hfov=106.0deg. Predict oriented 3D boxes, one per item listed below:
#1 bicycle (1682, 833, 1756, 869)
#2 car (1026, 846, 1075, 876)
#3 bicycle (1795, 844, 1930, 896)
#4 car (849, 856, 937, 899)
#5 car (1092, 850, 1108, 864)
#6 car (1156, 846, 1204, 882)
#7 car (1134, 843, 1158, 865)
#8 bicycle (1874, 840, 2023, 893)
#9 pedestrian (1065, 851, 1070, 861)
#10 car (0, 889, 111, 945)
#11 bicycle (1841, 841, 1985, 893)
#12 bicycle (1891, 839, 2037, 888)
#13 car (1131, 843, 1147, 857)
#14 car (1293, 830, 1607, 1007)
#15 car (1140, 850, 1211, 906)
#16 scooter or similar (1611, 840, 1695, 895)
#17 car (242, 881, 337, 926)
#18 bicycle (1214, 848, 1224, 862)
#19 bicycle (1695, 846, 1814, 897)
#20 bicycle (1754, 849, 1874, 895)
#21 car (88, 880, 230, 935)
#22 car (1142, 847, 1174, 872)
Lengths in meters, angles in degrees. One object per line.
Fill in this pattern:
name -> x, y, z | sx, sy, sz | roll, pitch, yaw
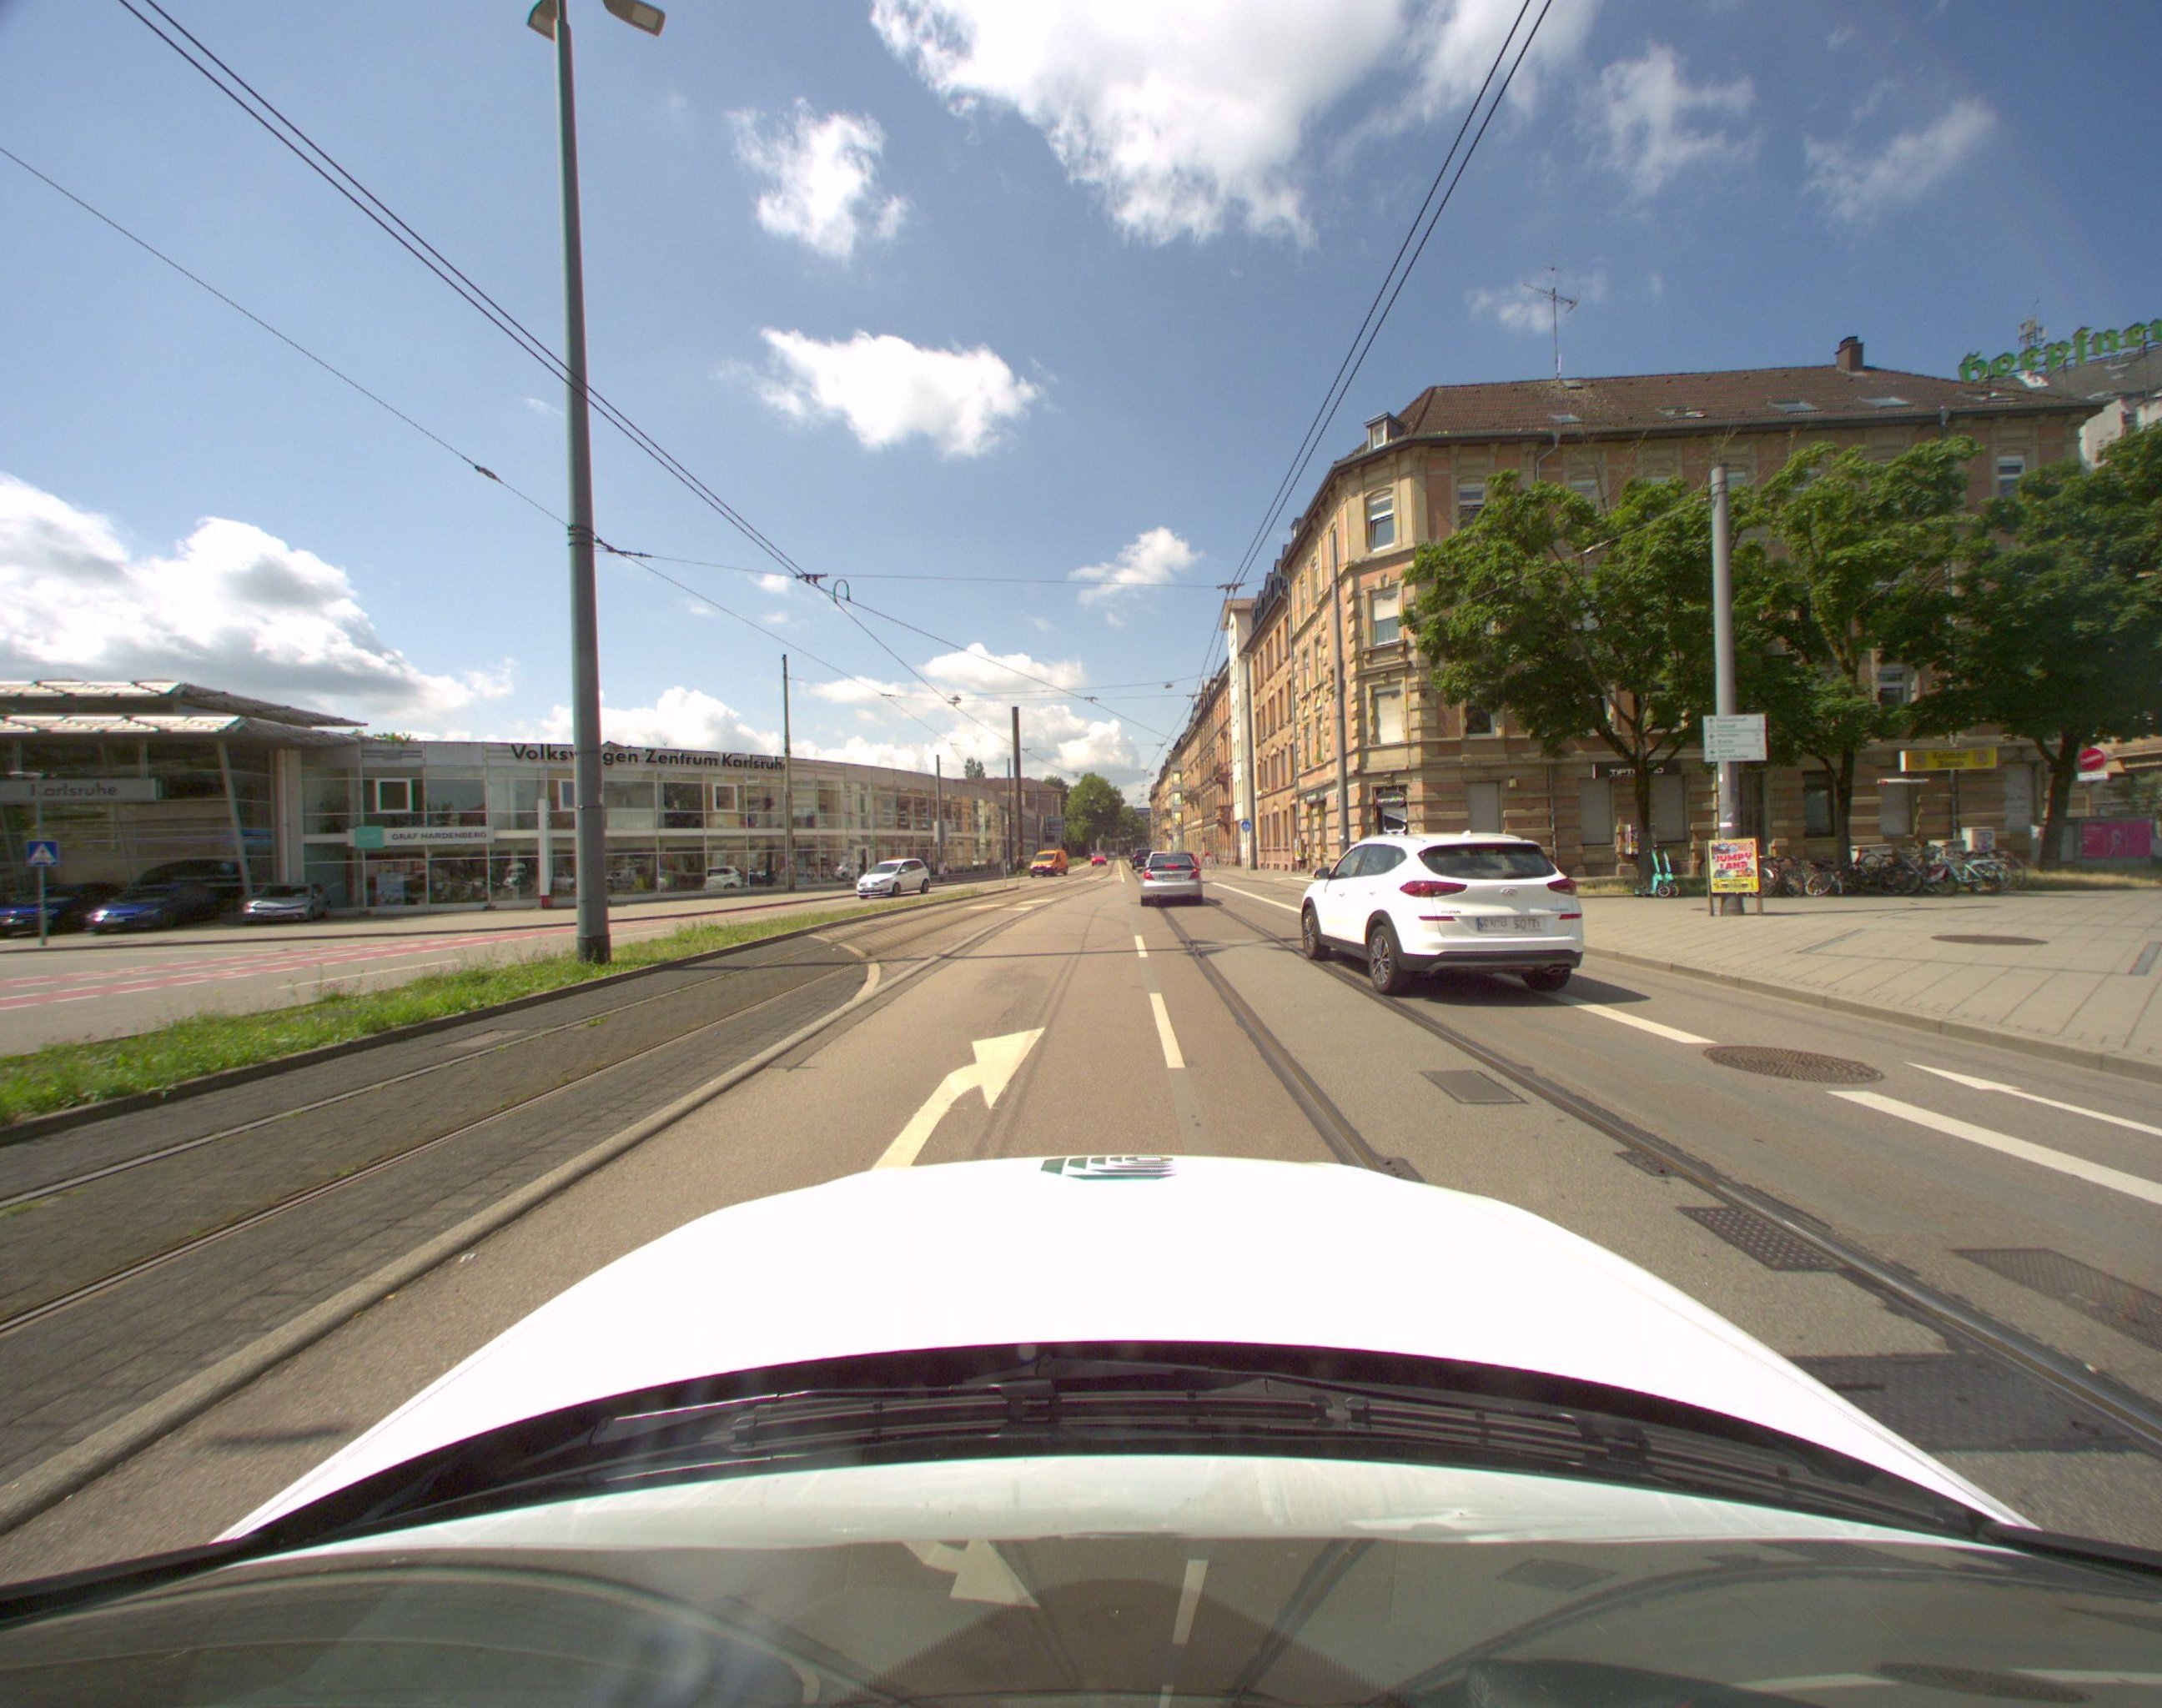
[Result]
bicycle -> 19.832, -0.100, 25.345 | 1.636, 1.050, 0.767 | -2, 0, 10
car -> -2.064, 0.442, 56.470 | 1.896, 1.865, 4.387 | -3, 0, 17
bicycle -> 18.082, 0.339, 18.949 | 0.788, 1.070, 2.577 | -3, 0, 5
car -> -8.458, 1.026, 37.029 | 1.752, 1.604, 4.514 | -3, 1, 17
car -> 2.205, 0.337, 92.249 | 1.695, 1.428, 3.904 | -2, 0, 2
car -> 4.652, 0.435, 38.662 | 1.808, 1.524, 4.086 | -2, 1, 1
car -> 5.450, -0.006, 68.683 | 1.807, 1.661, 4.088 | -3, 0, 3
bicycle -> 19.829, 0.250, 18.728 | 0.788, 1.091, 2.577 | -3, 0, 5
pedestrian -> -2.796, 0.367, 166.699 | 0.876, 1.865, 1.082 | -3, 0, 3
car -> -35.461, 2.118, 28.220 | 1.786, 1.672, 3.596 | -3, 1, -41
bicycle -> 18.930, 0.272, 18.633 | 0.788, 1.053, 2.577 | -3, 0, 5
bicycle -> 20.728, 0.201, 19.226 | 0.788, 1.053, 2.577 | -3, 0, 5
car -> 8.085, -0.548, 114.381 | 1.986, 1.859, 4.001 | -2, 1, 1
car -> 3.960, 0.594, 9.634 | 1.846, 1.634, 4.180 | 0, 0, 0
car -> 2.653, 0.636, 23.621 | 1.806, 1.420, 4.192 | -2, 0, 4
scooter or similar -> 13.610, 0.305, 19.423 | 0.946, 1.203, 1.388 | -3, 0, -4
car -> -30.154, 1.852, 31.138 | 1.842, 1.446, 3.905 | -2, 0, -33
bicycle -> 12.415, 0.061, 73.437 | 0.584, 1.178, 2.207 | -3, 0, 4
bicycle -> 15.781, 0.381, 19.186 | 1.019, 1.081, 2.267 | -3, 0, 5
bicycle -> 16.829, 0.376, 18.795 | 0.838, 0.879, 2.292 | -3, 2, 5
car -> -32.326, 1.808, 28.709 | 1.661, 1.473, 3.762 | -2, 3, -21
car -> 4.993, 0.320, 53.012 | 1.807, 1.524, 3.958 | -2, 0, 2
